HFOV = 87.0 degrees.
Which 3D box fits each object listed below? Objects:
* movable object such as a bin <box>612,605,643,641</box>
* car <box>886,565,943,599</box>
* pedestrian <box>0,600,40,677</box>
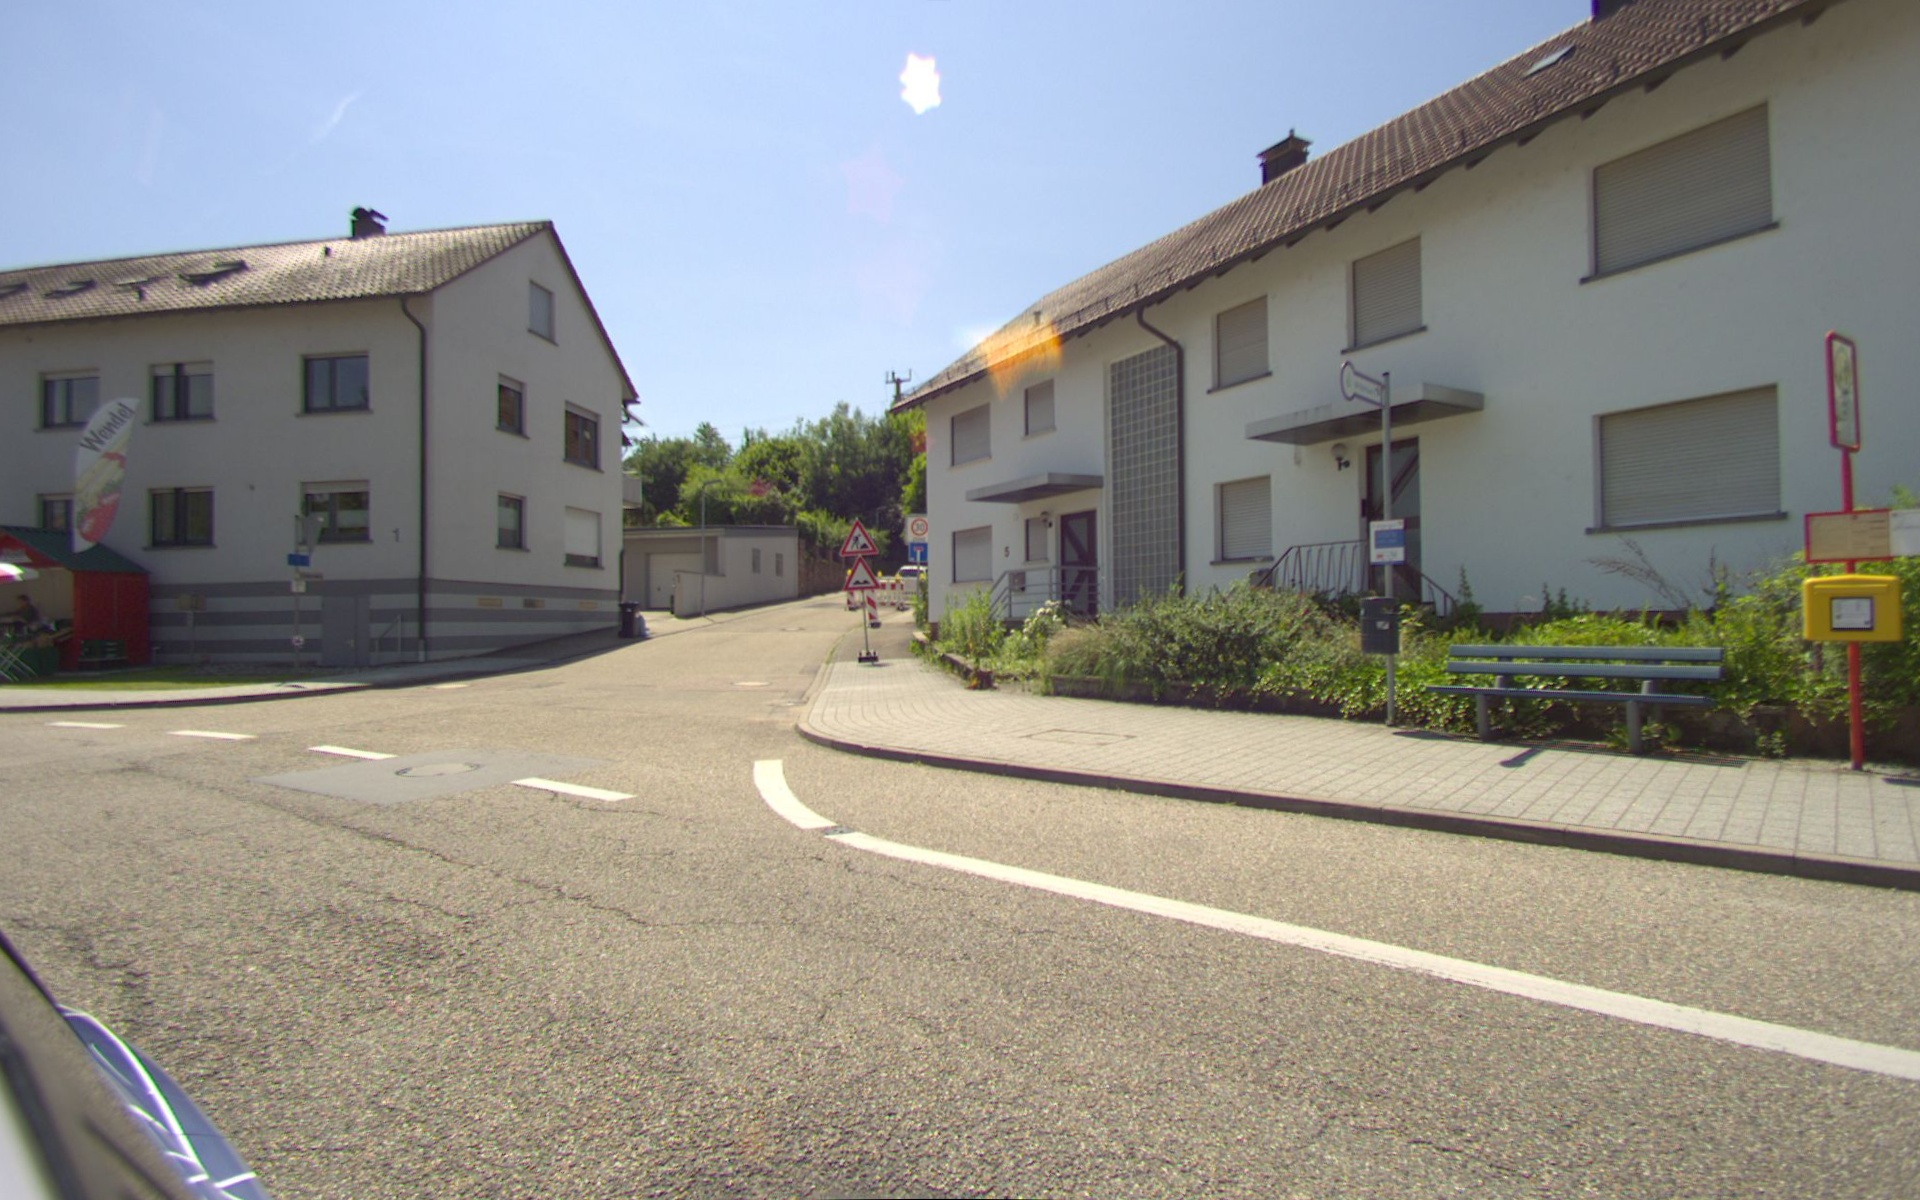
[{"bbox_3d":[-8.815,0.621,26.872,0.593,0.941,0.598,-1,-1,7],"label":"movable object such as a bin"},{"bbox_3d":[-2.071,-0.870,47.183,1.887,1.431,4.374,-1,2,8],"label":"car"},{"bbox_3d":[-19.842,0.801,21.310,0.808,1.600,0.604,-1,-2,42],"label":"pedestrian"}]
